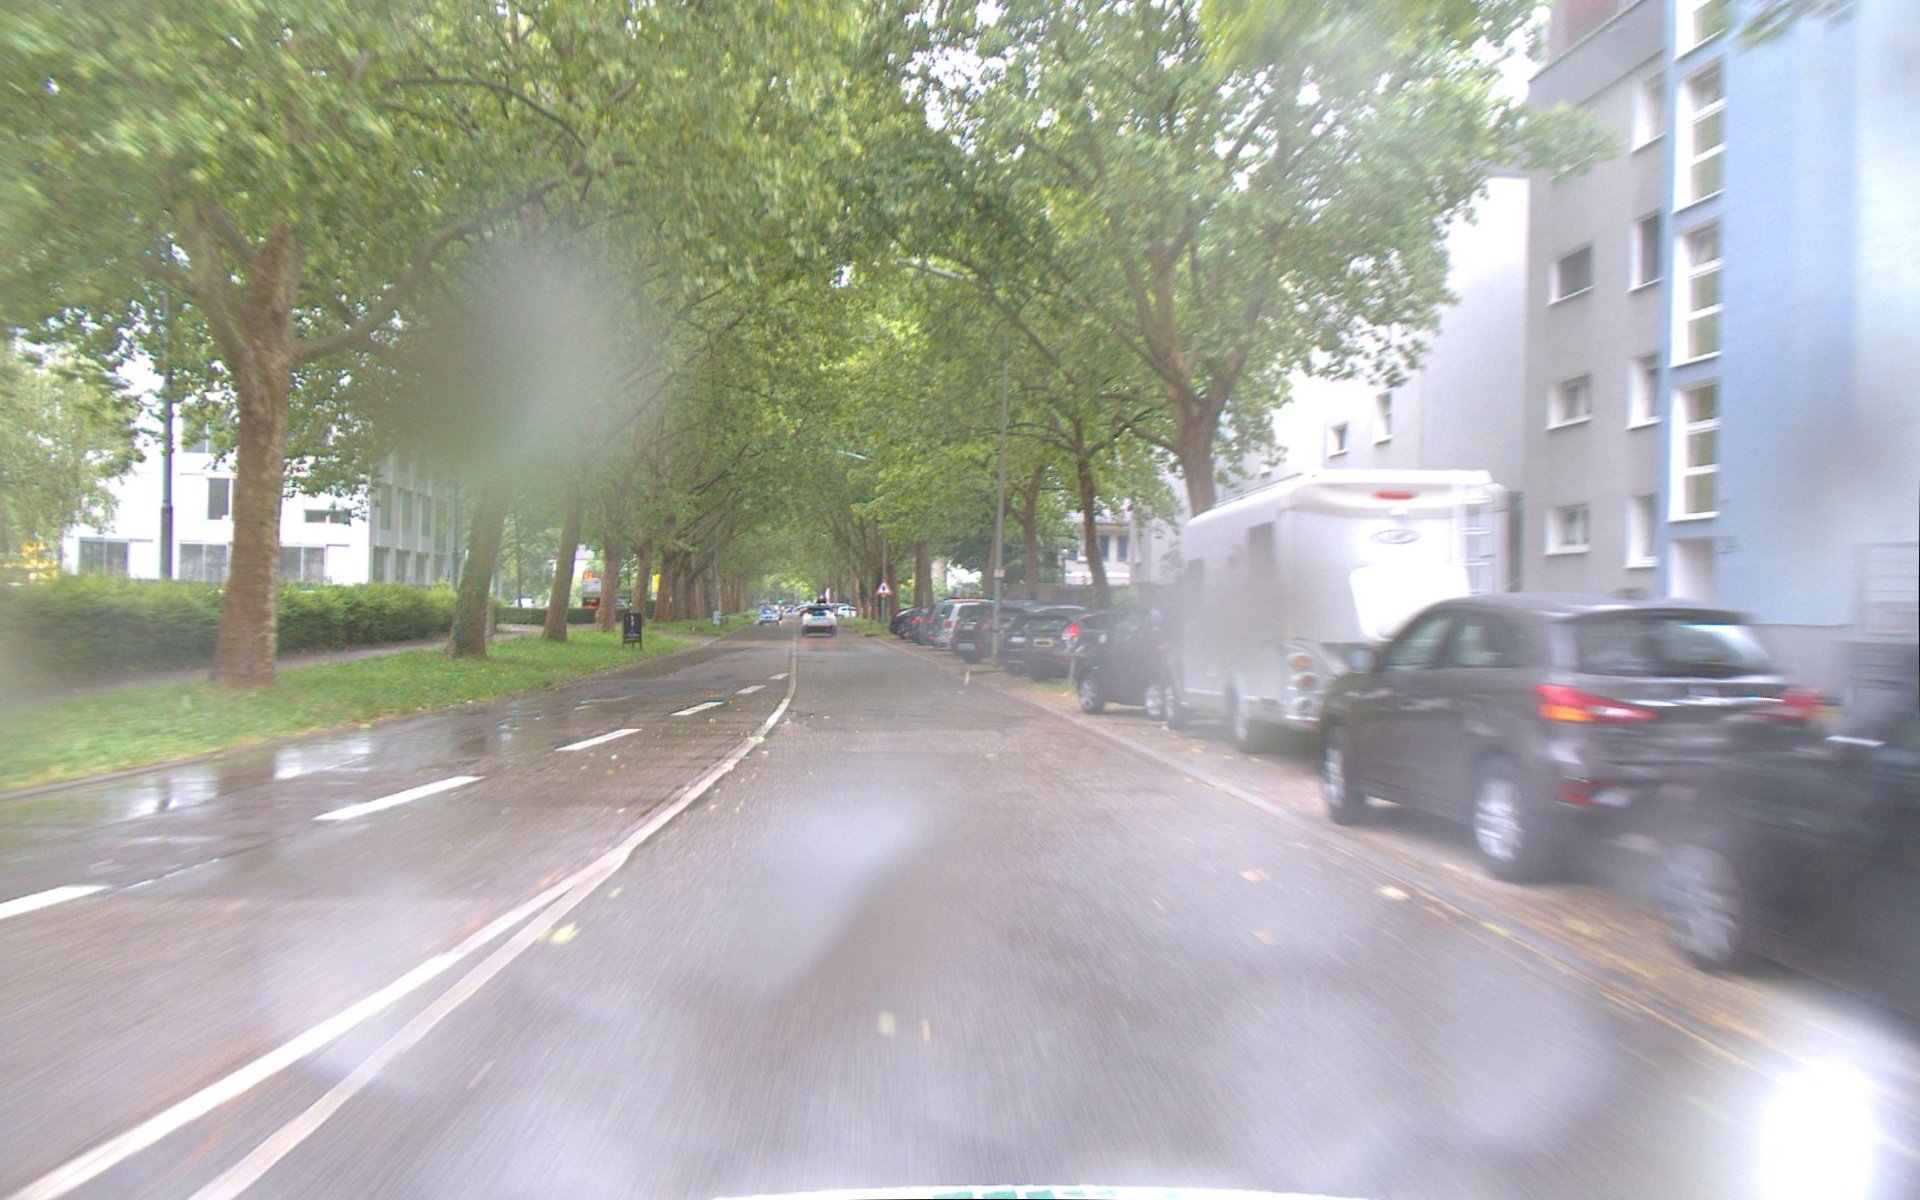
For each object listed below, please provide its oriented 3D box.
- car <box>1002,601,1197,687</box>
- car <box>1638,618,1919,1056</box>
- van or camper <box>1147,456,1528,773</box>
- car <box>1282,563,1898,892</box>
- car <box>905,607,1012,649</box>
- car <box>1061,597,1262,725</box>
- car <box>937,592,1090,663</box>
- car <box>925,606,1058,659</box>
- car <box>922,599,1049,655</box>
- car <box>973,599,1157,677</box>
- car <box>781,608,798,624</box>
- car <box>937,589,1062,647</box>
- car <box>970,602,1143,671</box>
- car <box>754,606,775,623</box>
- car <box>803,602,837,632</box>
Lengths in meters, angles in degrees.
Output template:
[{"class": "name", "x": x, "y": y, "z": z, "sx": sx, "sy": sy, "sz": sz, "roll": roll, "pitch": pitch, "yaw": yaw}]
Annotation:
[{"class": "car", "x": 2.882, "y": 0.895, "z": 33.967, "sx": 3.726, "sy": 1.629, "sz": 1.780, "roll": 2, "pitch": 0, "yaw": -36}, {"class": "car", "x": 3.949, "y": 0.823, "z": 5.448, "sx": 1.518, "sy": 1.414, "sz": 4.147, "roll": 2, "pitch": 0, "yaw": -3}, {"class": "van or camper", "x": 3.866, "y": 0.145, "z": 18.618, "sx": 2.273, "sy": 2.856, "sz": 6.858, "roll": 1, "pitch": 0, "yaw": -4}, {"class": "car", "x": 3.690, "y": 0.709, "z": 10.695, "sx": 1.879, "sy": 1.649, "sz": 4.446, "roll": 2, "pitch": -1, "yaw": -7}, {"class": "car", "x": -0.081, "y": 1.089, "z": 64.932, "sx": 3.960, "sy": 1.466, "sz": 1.682, "roll": -2, "pitch": 1, "yaw": -9}, {"class": "car", "x": 2.844, "y": 0.832, "z": 23.876, "sx": 1.663, "sy": 1.681, "sz": 2.927, "roll": 2, "pitch": 0, "yaw": -22}, {"class": "car", "x": 1.471, "y": 0.697, "z": 44.760, "sx": 3.821, "sy": 1.727, "sz": 1.816, "roll": -2, "pitch": 2, "yaw": -34}, {"class": "car", "x": 0.959, "y": 1.011, "z": 51.953, "sx": 3.912, "sy": 1.539, "sz": 1.798, "roll": 2, "pitch": 0, "yaw": -8}, {"class": "car", "x": 0.859, "y": 0.933, "z": 57.978, "sx": 4.254, "sy": 1.792, "sz": 1.816, "roll": 2, "pitch": 0, "yaw": -6}, {"class": "car", "x": 2.409, "y": 0.864, "z": 37.583, "sx": 3.955, "sy": 1.629, "sz": 1.780, "roll": 2, "pitch": 0, "yaw": -36}, {"class": "car", "x": -16.750, "y": 1.559, "z": 162.596, "sx": 1.673, "sy": 1.436, "sz": 3.640, "roll": -1, "pitch": 0, "yaw": -6}, {"class": "car", "x": 1.274, "y": 0.582, "z": 54.499, "sx": 3.909, "sy": 1.757, "sz": 1.799, "roll": 2, "pitch": 0, "yaw": -5}, {"class": "car", "x": 2.454, "y": 0.923, "z": 41.818, "sx": 3.950, "sy": 1.629, "sz": 2.012, "roll": 2, "pitch": 0, "yaw": -33}, {"class": "car", "x": -16.764, "y": 1.205, "z": 142.081, "sx": 1.646, "sy": 1.413, "sz": 4.544, "roll": 0, "pitch": 0, "yaw": -5}, {"class": "car", "x": -7.186, "y": 0.845, "z": 84.492, "sx": 1.673, "sy": 1.436, "sz": 3.640, "roll": -1, "pitch": 0, "yaw": -6}]
